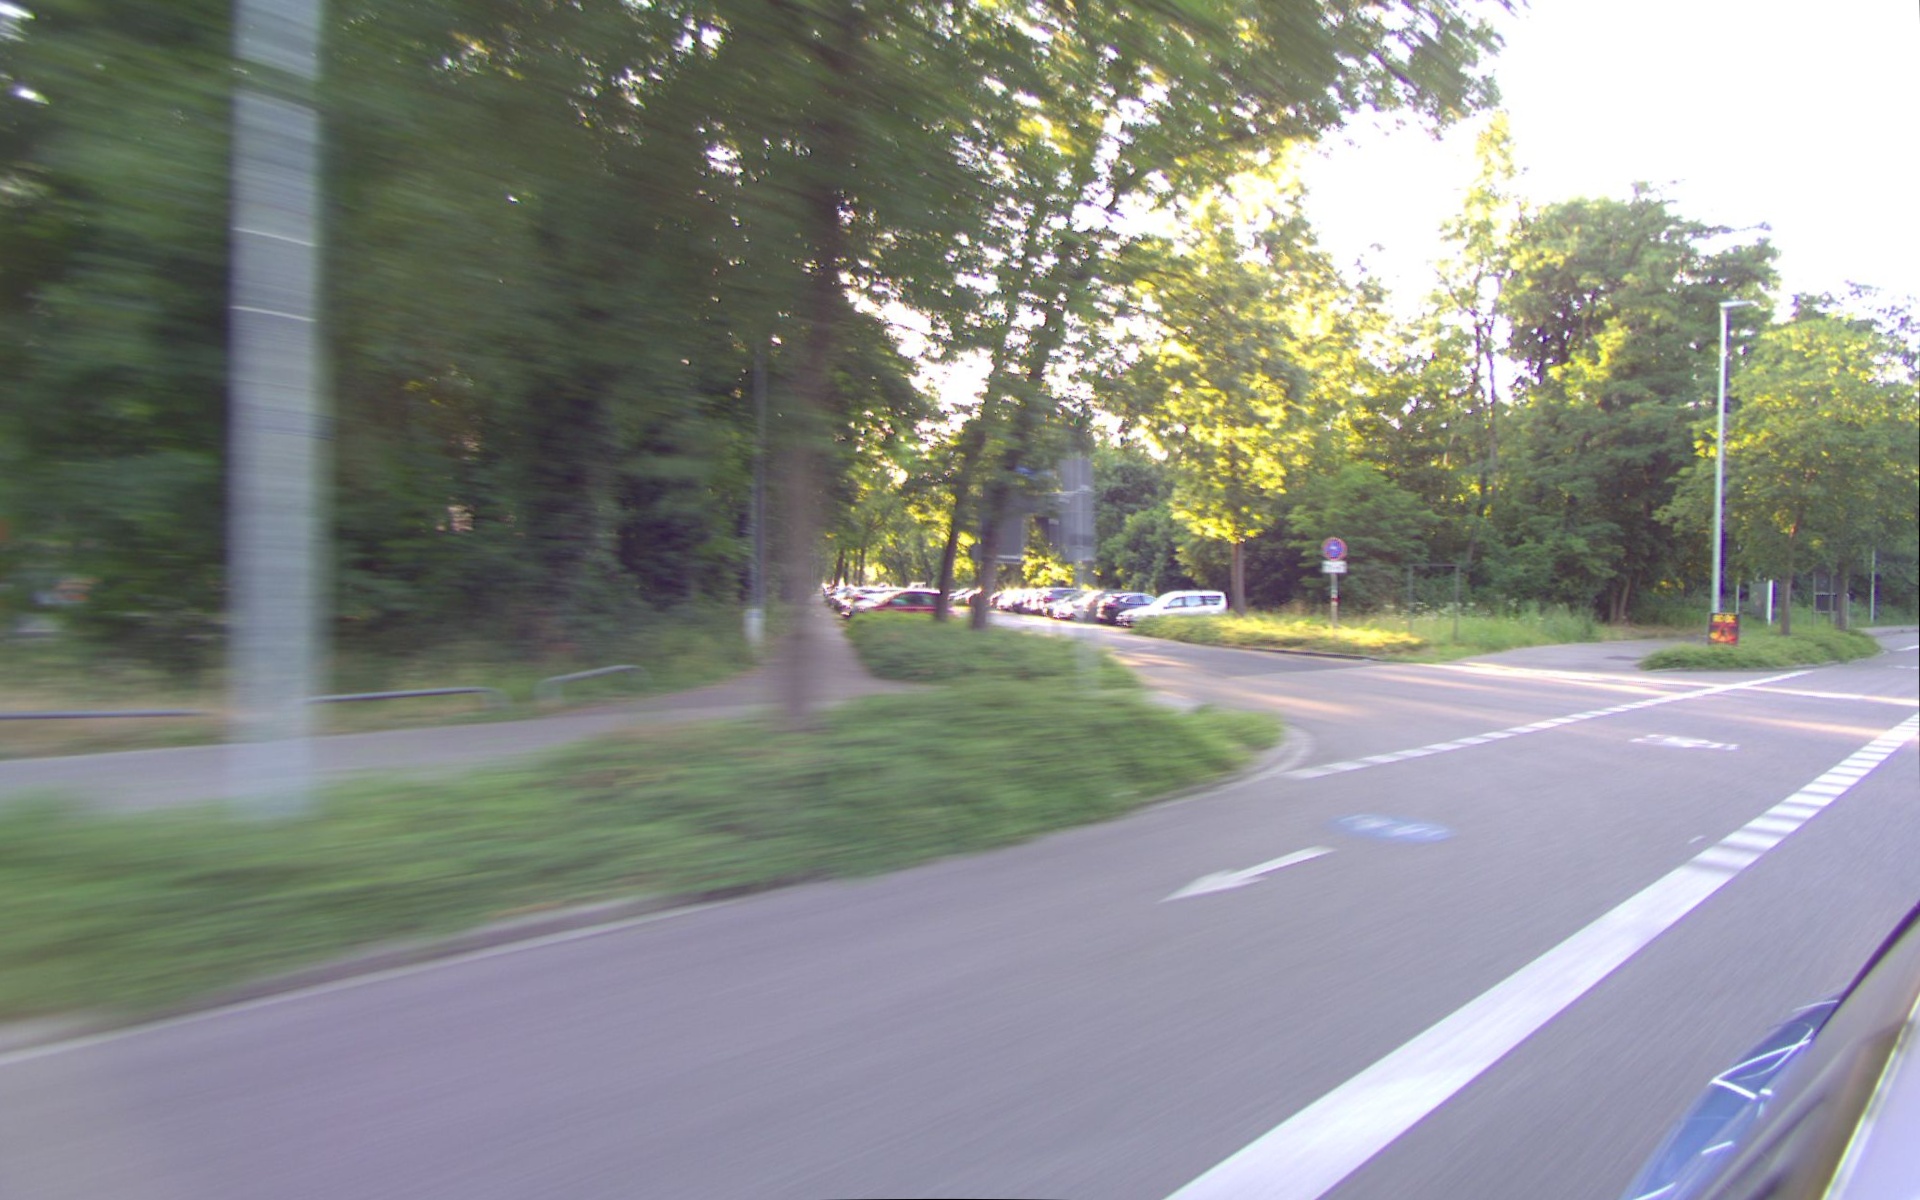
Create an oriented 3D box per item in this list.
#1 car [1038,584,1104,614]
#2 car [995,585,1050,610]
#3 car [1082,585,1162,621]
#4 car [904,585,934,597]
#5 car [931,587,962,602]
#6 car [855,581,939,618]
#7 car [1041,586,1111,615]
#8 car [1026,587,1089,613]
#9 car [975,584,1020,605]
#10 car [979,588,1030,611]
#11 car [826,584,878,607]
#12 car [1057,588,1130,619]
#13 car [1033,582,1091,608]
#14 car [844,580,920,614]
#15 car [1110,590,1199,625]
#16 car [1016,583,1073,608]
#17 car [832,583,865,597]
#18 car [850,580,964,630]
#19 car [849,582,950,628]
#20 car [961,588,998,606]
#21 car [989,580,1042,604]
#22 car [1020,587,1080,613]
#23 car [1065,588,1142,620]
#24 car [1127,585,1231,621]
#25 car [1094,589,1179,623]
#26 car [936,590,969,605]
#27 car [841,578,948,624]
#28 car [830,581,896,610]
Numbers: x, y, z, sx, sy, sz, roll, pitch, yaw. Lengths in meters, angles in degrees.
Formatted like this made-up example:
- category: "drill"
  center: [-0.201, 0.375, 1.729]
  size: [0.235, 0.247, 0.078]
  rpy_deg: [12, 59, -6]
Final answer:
- category: "car"
  center: [6.598, -0.073, 60.073]
  size: [3.567, 1.683, 1.544]
  rpy_deg: [1, 1, -11]
- category: "car"
  center: [4.432, -0.189, 72.161]
  size: [3.567, 1.683, 1.544]
  rpy_deg: [1, 1, -11]
- category: "car"
  center: [8.013, 0.142, 50.152]
  size: [3.567, 1.728, 1.544]
  rpy_deg: [1, 1, -11]
- category: "car"
  center: [-5.660, -1.285, 140.048]
  size: [4.028, 1.565, 1.697]
  rpy_deg: [-1, 1, -7]
- category: "car"
  center: [-1.688, -0.675, 122.810]
  size: [3.569, 1.683, 1.544]
  rpy_deg: [-1, 1, -7]
- category: "car"
  center: [-2.968, -0.021, 47.306]
  size: [3.762, 1.667, 1.544]
  rpy_deg: [1, 1, -7]
- category: "car"
  center: [6.526, 0.033, 56.978]
  size: [3.567, 1.563, 1.544]
  rpy_deg: [1, 1, -11]
- category: "car"
  center: [6.007, -0.014, 62.612]
  size: [3.567, 1.563, 1.544]
  rpy_deg: [1, 1, -11]
- category: "car"
  center: [3.182, -0.500, 86.382]
  size: [3.569, 1.683, 1.544]
  rpy_deg: [1, 1, -7]
- category: "car"
  center: [3.328, -0.020, 76.400]
  size: [3.567, 1.683, 1.544]
  rpy_deg: [1, 1, -11]
- category: "car"
  center: [-7.591, -0.301, 71.042]
  size: [3.569, 1.533, 1.544]
  rpy_deg: [1, 1, -7]
- category: "car"
  center: [7.125, 0.194, 54.150]
  size: [3.567, 1.563, 1.544]
  rpy_deg: [1, 1, -11]
- category: "car"
  center: [6.832, -0.342, 67.818]
  size: [3.567, 1.683, 1.544]
  rpy_deg: [1, 1, -11]
- category: "car"
  center: [-4.171, -0.150, 53.647]
  size: [3.913, 1.667, 1.544]
  rpy_deg: [2, 1, -7]
- category: "car"
  center: [8.718, 0.322, 45.487]
  size: [3.567, 1.501, 1.544]
  rpy_deg: [1, -1, -11]
- category: "car"
  center: [5.845, -0.329, 70.168]
  size: [3.567, 1.683, 1.544]
  rpy_deg: [1, 1, -11]
- category: "car"
  center: [-12.384, -1.129, 112.237]
  size: [3.569, 1.533, 1.544]
  rpy_deg: [1, 1, -7]
- category: "car"
  center: [-1.853, 0.160, 34.723]
  size: [3.762, 1.605, 1.544]
  rpy_deg: [1, 1, -7]
- category: "car"
  center: [-2.358, 0.177, 39.120]
  size: [3.762, 1.667, 1.544]
  rpy_deg: [1, 1, -7]
- category: "car"
  center: [1.941, -0.321, 103.189]
  size: [3.569, 1.683, 1.544]
  rpy_deg: [1, 1, -7]
- category: "car"
  center: [4.062, -0.562, 74.120]
  size: [3.567, 1.683, 1.544]
  rpy_deg: [1, 1, -11]
- category: "car"
  center: [5.772, -0.003, 65.206]
  size: [3.567, 1.563, 1.544]
  rpy_deg: [1, 1, -11]
- category: "car"
  center: [7.361, 0.184, 52.087]
  size: [3.567, 1.563, 1.544]
  rpy_deg: [1, 1, -11]
- category: "car"
  center: [9.117, 0.115, 42.289]
  size: [3.916, 1.414, 1.544]
  rpy_deg: [1, 1, -11]
- category: "car"
  center: [8.235, 0.272, 47.421]
  size: [3.567, 1.500, 1.544]
  rpy_deg: [1, 1, -11]
- category: "car"
  center: [-0.895, -0.326, 117.902]
  size: [3.569, 1.683, 1.544]
  rpy_deg: [-1, 1, -7]
- category: "car"
  center: [-2.416, 0.021, 36.739]
  size: [3.762, 1.605, 1.544]
  rpy_deg: [1, 1, -7]
- category: "car"
  center: [-5.366, -0.252, 55.972]
  size: [3.569, 1.570, 1.544]
  rpy_deg: [1, 1, -7]
